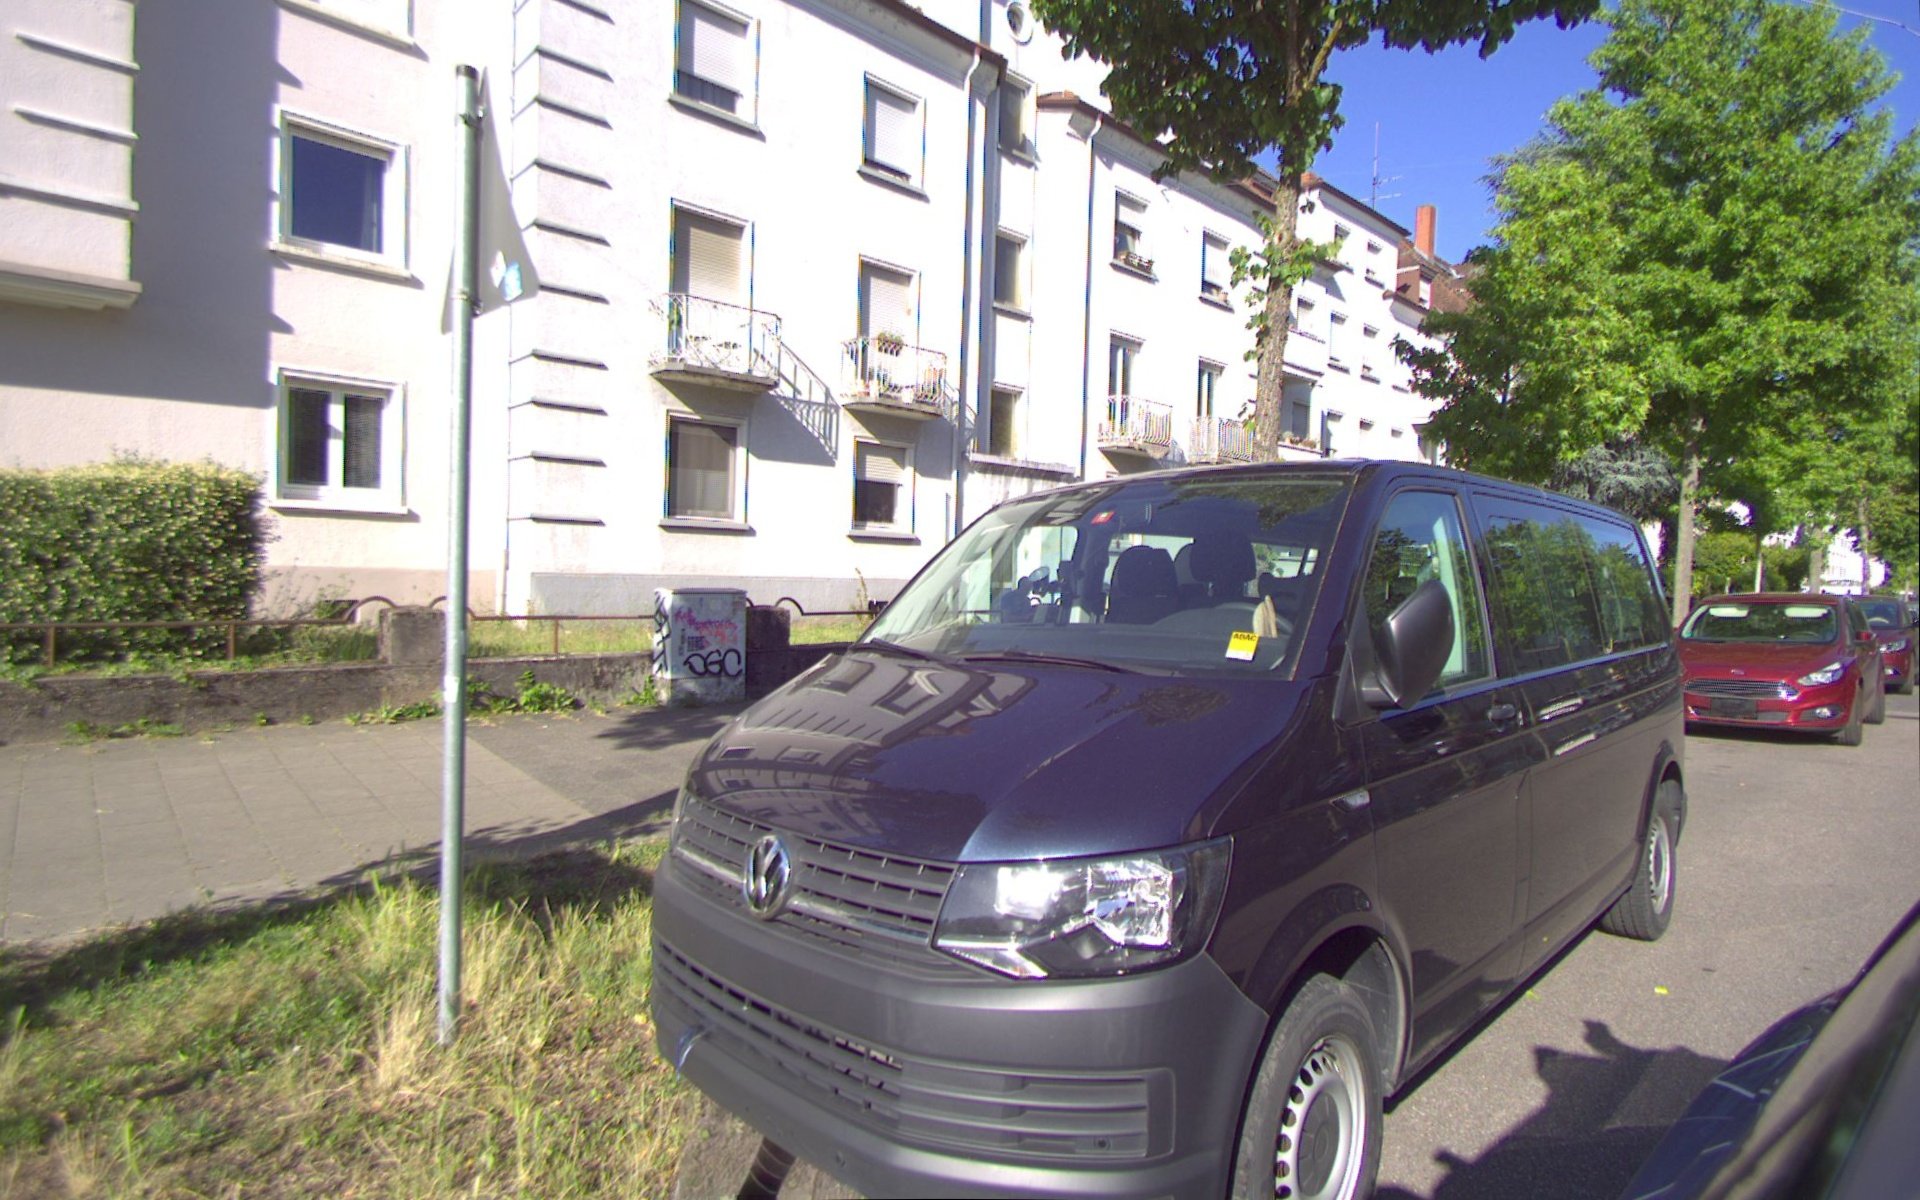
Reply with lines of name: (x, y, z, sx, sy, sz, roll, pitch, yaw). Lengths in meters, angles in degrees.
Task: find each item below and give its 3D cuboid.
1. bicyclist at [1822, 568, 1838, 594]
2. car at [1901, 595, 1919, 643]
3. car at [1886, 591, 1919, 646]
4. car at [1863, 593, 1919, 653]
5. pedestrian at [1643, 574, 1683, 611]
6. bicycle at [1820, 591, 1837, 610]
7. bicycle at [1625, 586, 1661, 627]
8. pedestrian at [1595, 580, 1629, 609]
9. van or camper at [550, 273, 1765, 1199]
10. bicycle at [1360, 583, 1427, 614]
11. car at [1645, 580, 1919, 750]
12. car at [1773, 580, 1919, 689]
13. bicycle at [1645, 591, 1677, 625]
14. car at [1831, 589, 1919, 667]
bicyclist: (46.706, -1.026, 54.310, 0.707, 1.354, 0.497, -1, 4, -43)
car: (31.932, 0.598, 33.070, 1.606, 1.441, 3.951, 0, 1, 45)
car: (27.951, 0.492, 29.248, 1.606, 1.482, 3.809, 0, 1, 45)
car: (24.598, 0.559, 26.003, 3.634, 1.415, 1.766, -1, 1, -43)
pedestrian: (27.414, -0.312, 39.467, 1.020, 1.395, 0.714, 2, 2, 12)
bicycle: (46.651, 0.030, 54.328, 1.757, 0.973, 0.459, -1, 4, -43)
bicycle: (21.051, 0.198, 31.190, 2.139, 1.212, 0.489, -1, 1, -44)
pedestrian: (26.019, -0.217, 40.379, 1.032, 1.157, 0.705, 0, 1, 42)
van or camper: (1.429, 0.434, 3.985, 5.297, 1.886, 1.991, -1, 1, -43)
bicycle: (14.591, -0.078, 34.115, 0.549, 0.929, 2.036, -1, 4, -38)
car: (10.168, 0.595, 12.331, 4.888, 1.633, 1.902, -1, 2, -42)
car: (16.176, 0.506, 18.037, 4.516, 1.586, 1.933, -1, 5, -43)
bicycle: (22.903, 0.251, 33.055, 0.432, 1.025, 2.213, -5, -3, 44)
car: (20.364, 0.546, 21.942, 4.415, 1.424, 1.714, -1, 4, -43)
